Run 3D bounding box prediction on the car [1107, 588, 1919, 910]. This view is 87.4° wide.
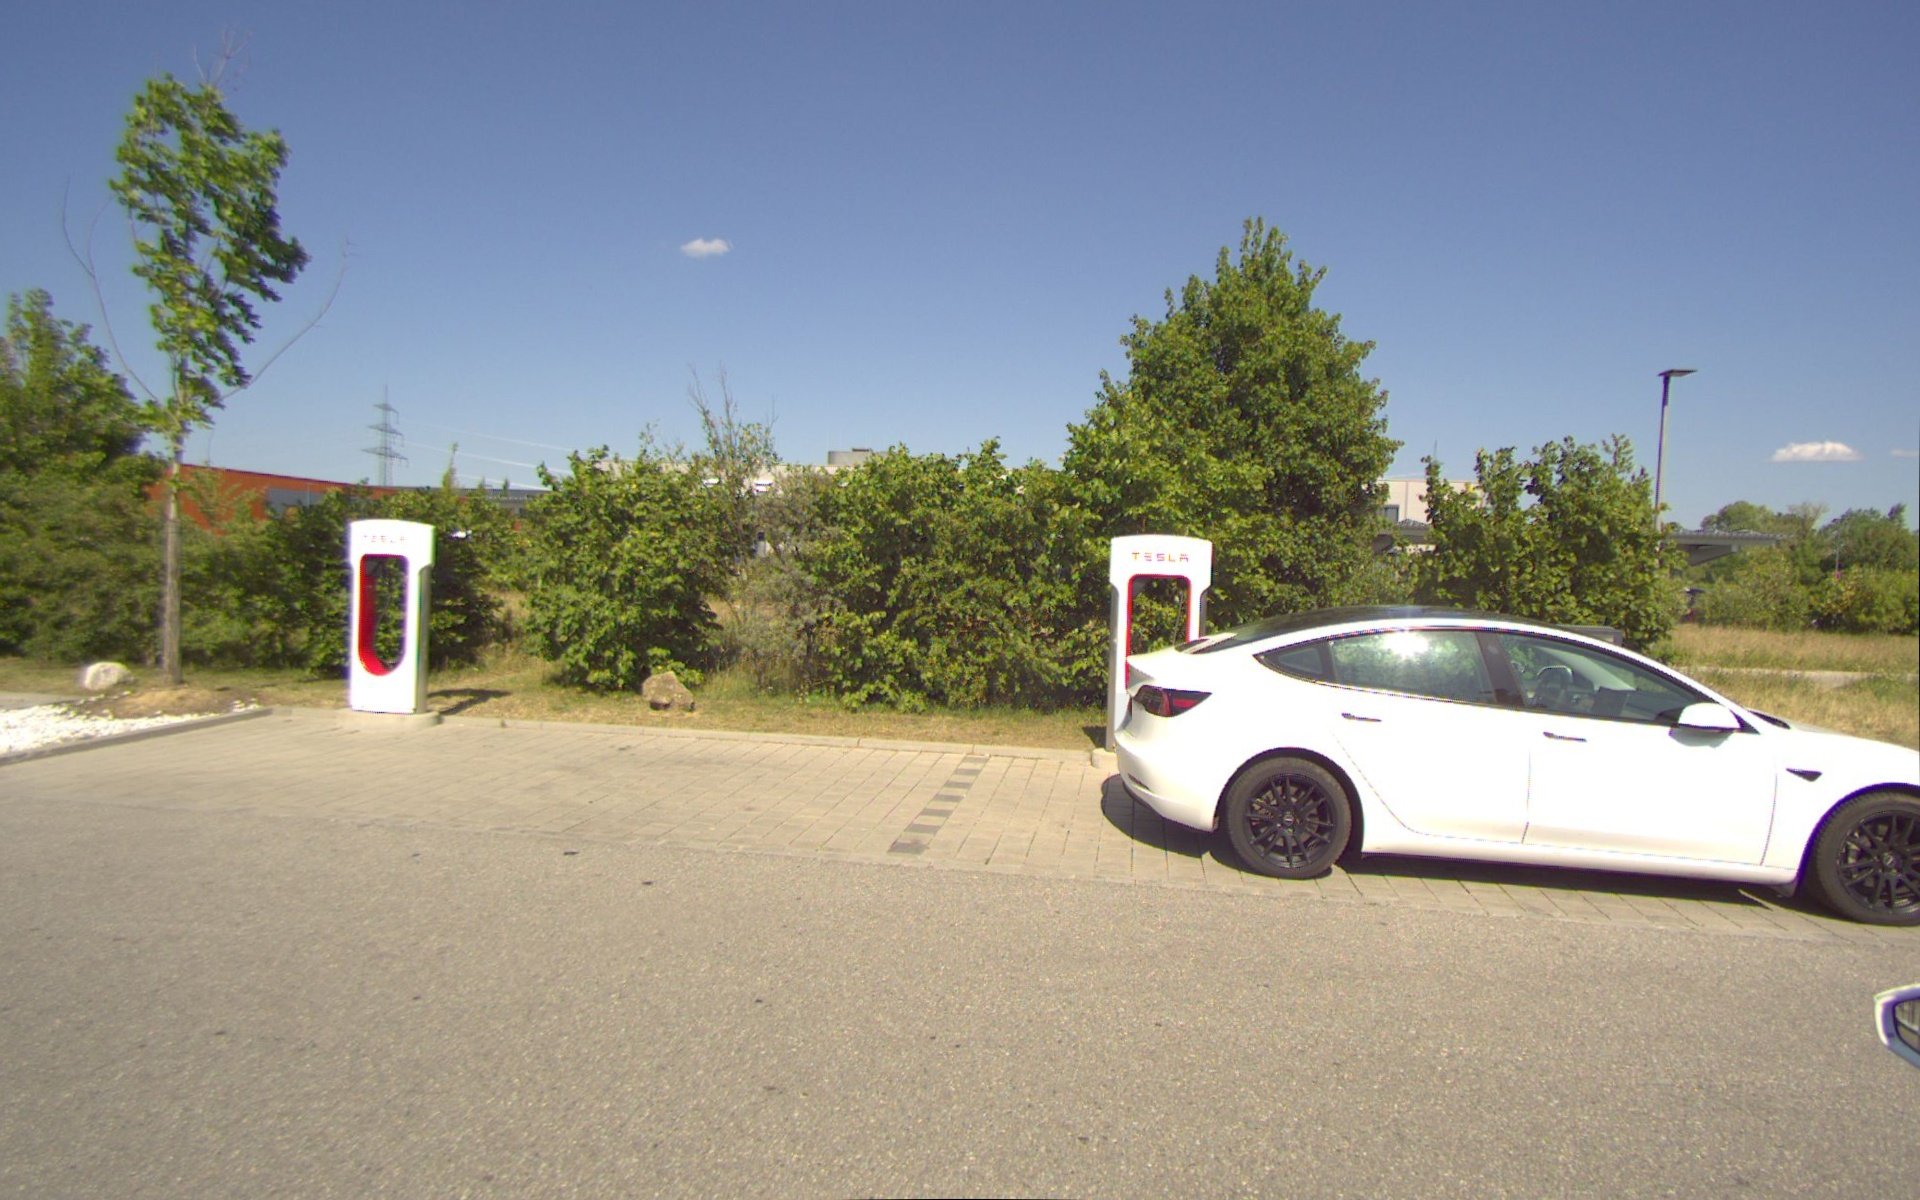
[{"bbox_3d":[3.150,0.701,5.980,4.358,1.396,1.823,2,2,12],"label":"car"}]
